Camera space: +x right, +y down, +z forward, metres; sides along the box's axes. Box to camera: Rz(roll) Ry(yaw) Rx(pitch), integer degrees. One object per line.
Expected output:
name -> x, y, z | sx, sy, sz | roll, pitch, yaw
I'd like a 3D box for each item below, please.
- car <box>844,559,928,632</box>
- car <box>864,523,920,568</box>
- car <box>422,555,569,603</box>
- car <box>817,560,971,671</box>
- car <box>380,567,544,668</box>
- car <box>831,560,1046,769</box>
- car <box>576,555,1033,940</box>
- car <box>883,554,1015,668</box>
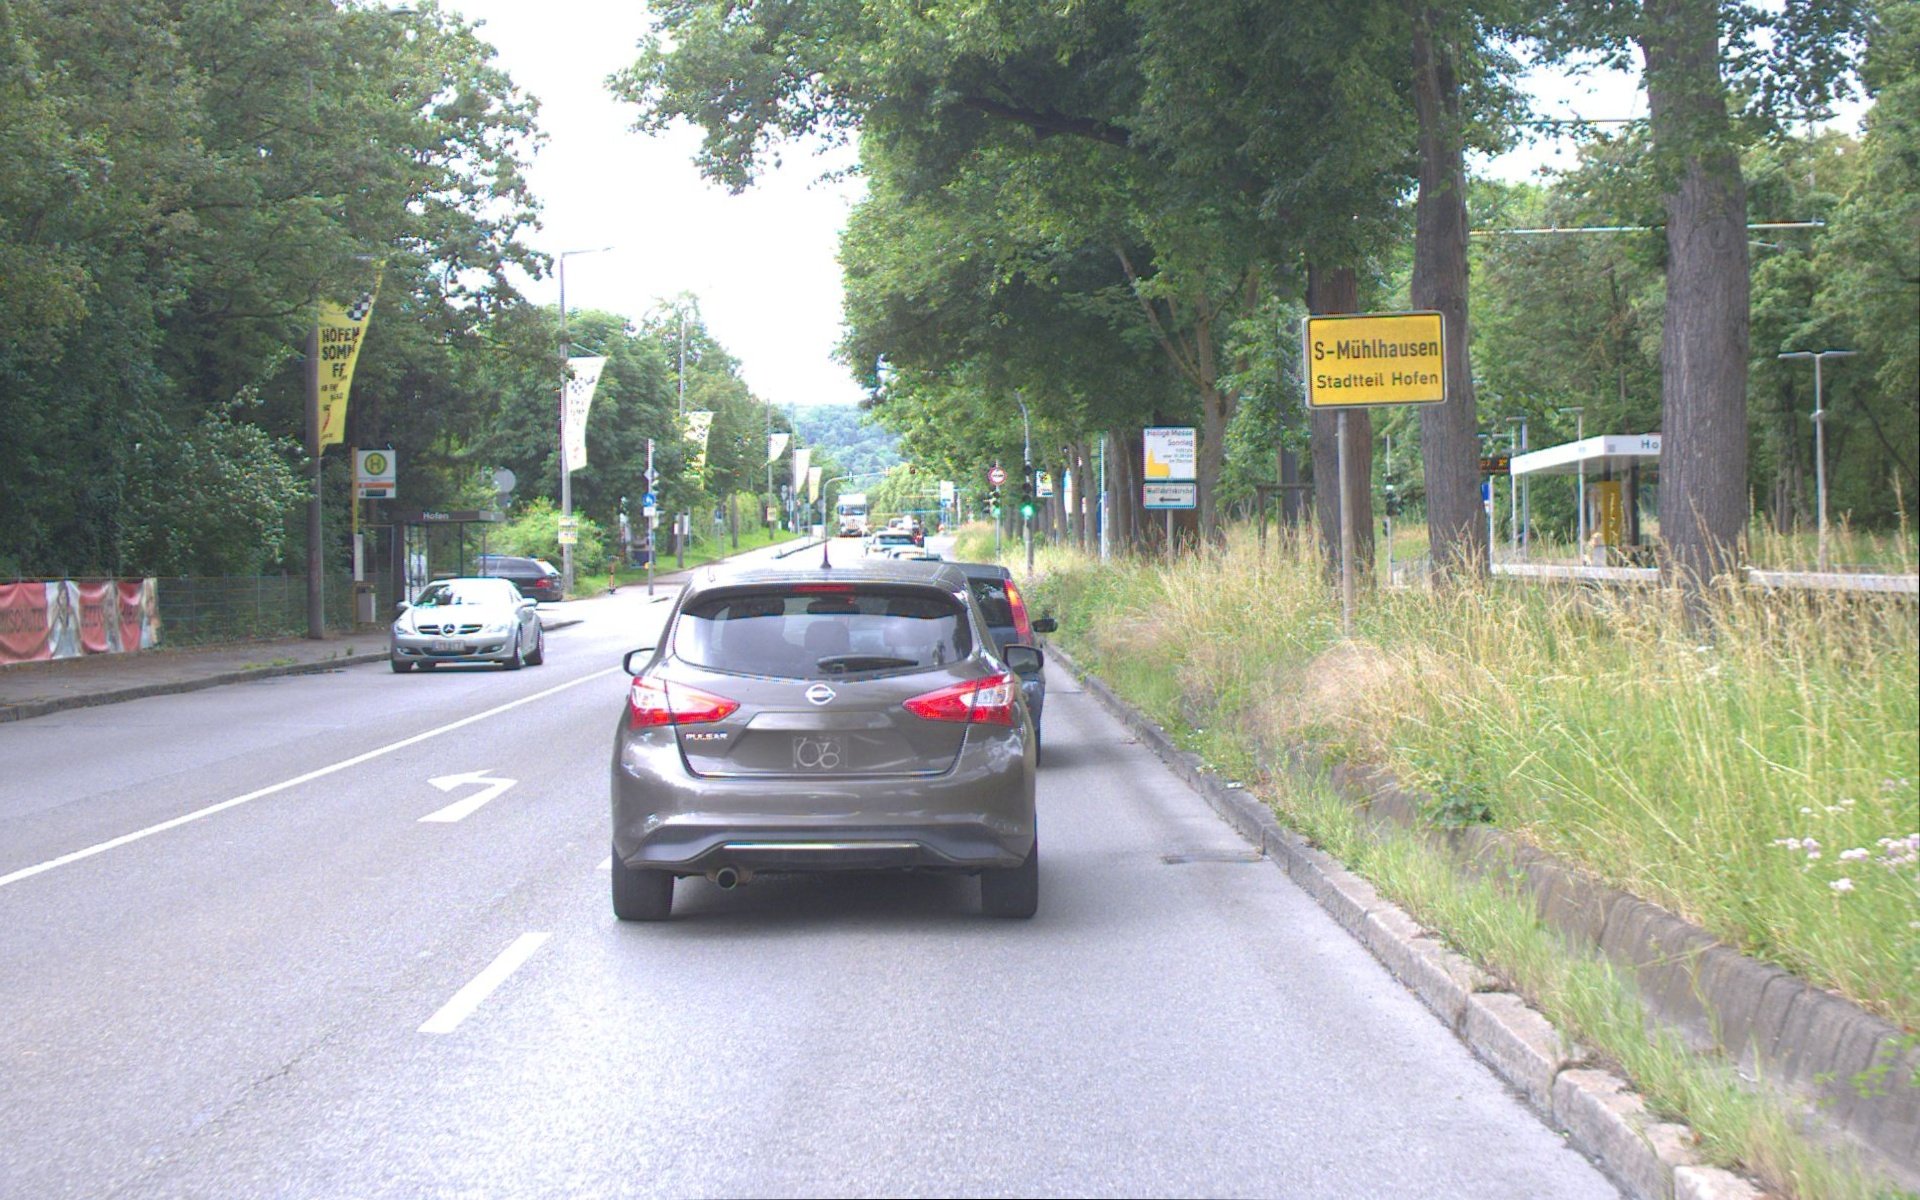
car -> -1.506, -0.117, 70.719 | 1.691, 1.436, 3.542 | 0, 1, -1
car -> -2.466, -1.976, 126.056 | 1.993, 1.568, 4.000 | 1, 0, -1
car -> -13.022, -0.594, 96.458 | 3.687, 1.332, 1.762 | 0, 1, 19
car -> -0.888, 0.200, 47.136 | 1.993, 1.408, 4.000 | 1, 0, -1
car -> -6.893, 0.216, 47.892 | 1.758, 1.332, 3.696 | 0, 1, 0
car -> -0.170, 0.431, 25.757 | 1.502, 1.436, 3.542 | 0, 1, -1
car -> -0.615, 0.558, 15.355 | 1.783, 1.501, 3.696 | 0, 1, 0
car -> -0.158, 0.118, 45.850 | 1.691, 1.436, 3.542 | 0, 1, -1
